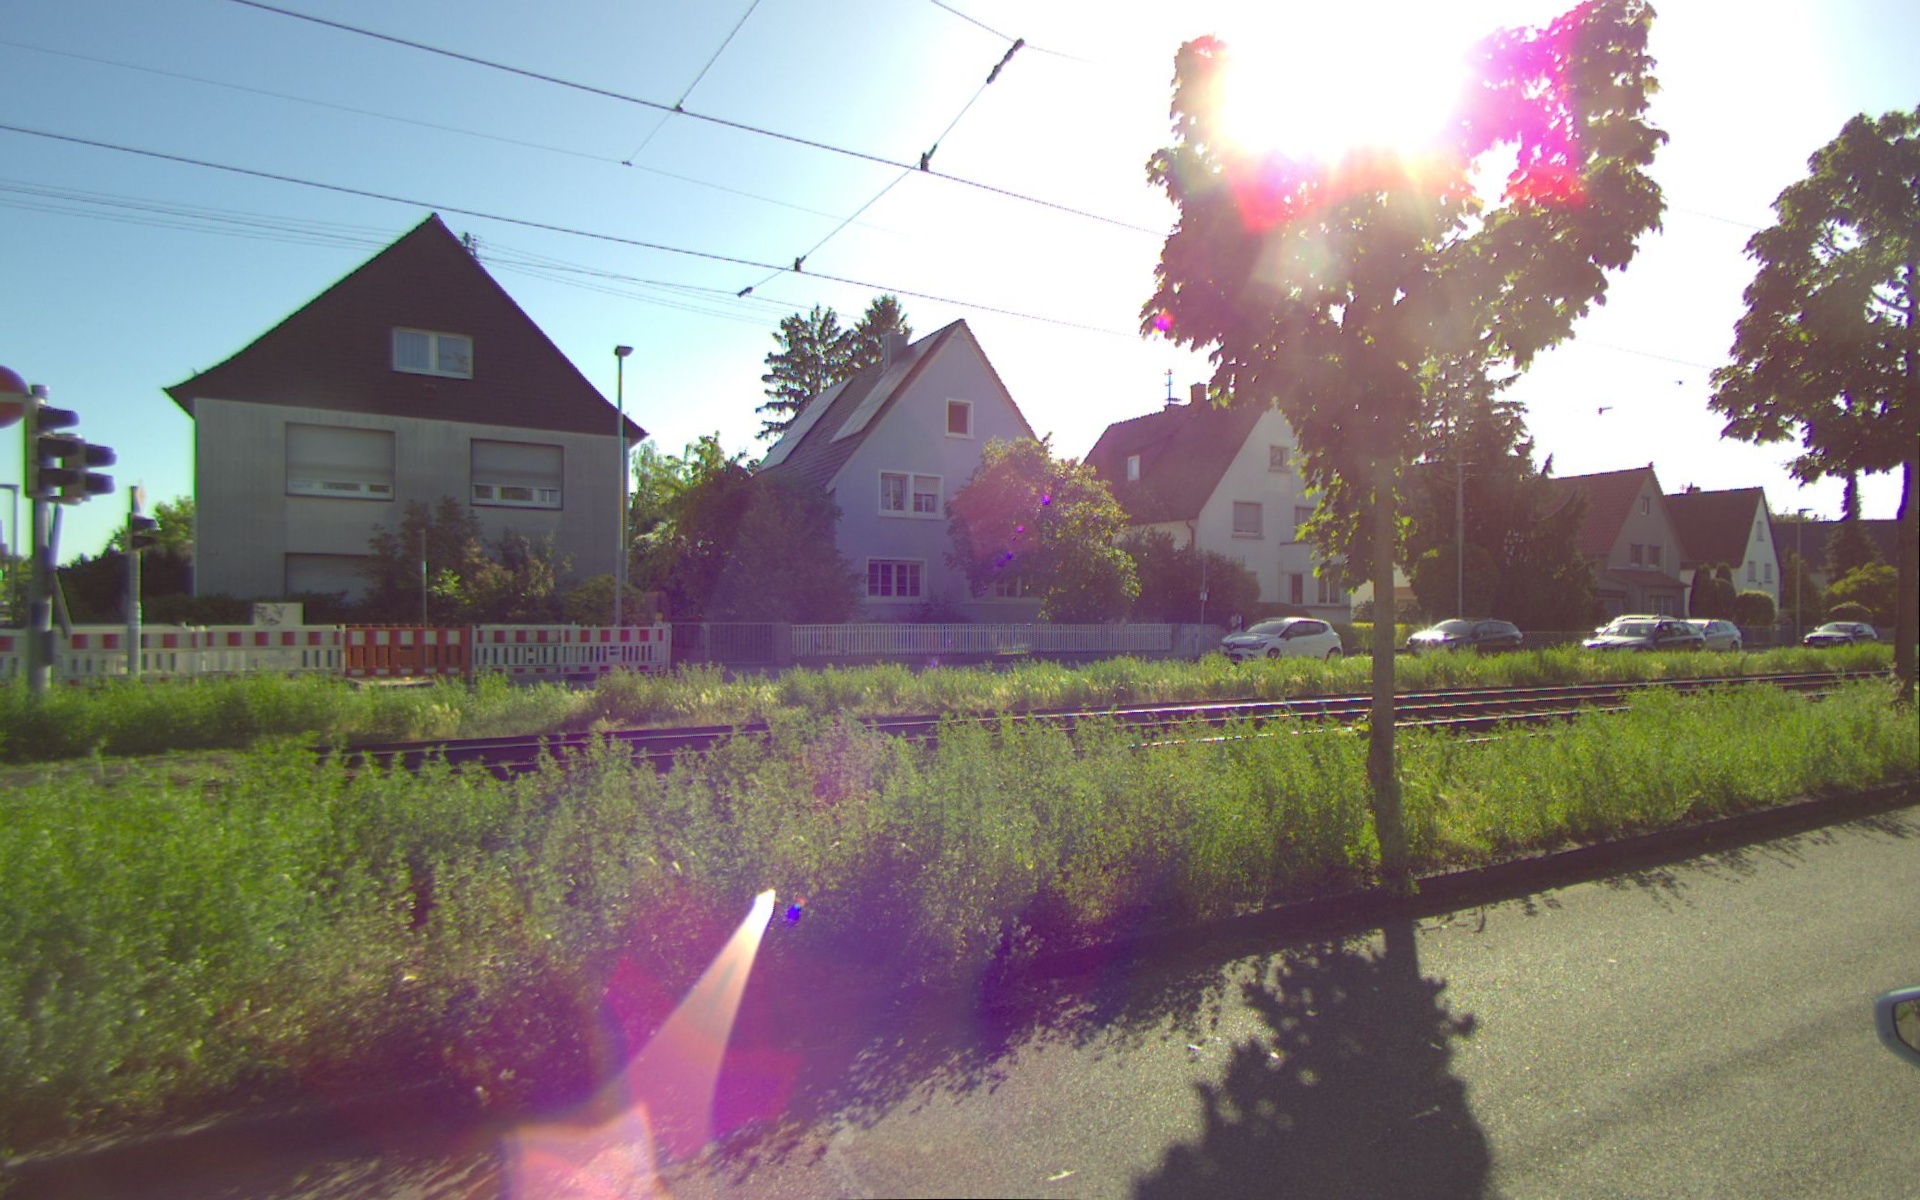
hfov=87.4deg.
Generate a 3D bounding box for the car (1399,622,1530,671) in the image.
[{"bbox_3d":[16.815,1.510,33.437,4.549,1.485,1.721,1,1,-31],"label":"car"}]

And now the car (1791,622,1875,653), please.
[{"bbox_3d":[42.685,1.815,49.085,4.178,1.388,1.851,1,1,-31],"label":"car"}]

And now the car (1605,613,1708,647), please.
[{"bbox_3d":[35.468,1.496,51.263,1.866,1.472,3.900,-1,2,-29],"label":"car"}]

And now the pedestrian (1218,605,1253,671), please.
[{"bbox_3d":[8.723,1.197,31.778,0.763,2.041,0.677,1,1,-30],"label":"pedestrian"}]

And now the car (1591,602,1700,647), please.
[{"bbox_3d":[26.830,0.945,39.293,4.502,1.673,1.739,1,1,-31],"label":"car"}]

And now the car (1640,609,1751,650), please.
[{"bbox_3d":[30.788,1.225,42.031,4.723,1.566,1.984,1,1,-30],"label":"car"}]

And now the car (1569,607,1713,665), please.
[{"bbox_3d":[20.242,1.040,29.793,4.754,1.573,1.652,1,1,-31],"label":"car"}]

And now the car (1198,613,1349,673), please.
[{"bbox_3d":[9.117,1.214,29.134,4.178,1.562,1.851,1,1,-31],"label":"car"}]
